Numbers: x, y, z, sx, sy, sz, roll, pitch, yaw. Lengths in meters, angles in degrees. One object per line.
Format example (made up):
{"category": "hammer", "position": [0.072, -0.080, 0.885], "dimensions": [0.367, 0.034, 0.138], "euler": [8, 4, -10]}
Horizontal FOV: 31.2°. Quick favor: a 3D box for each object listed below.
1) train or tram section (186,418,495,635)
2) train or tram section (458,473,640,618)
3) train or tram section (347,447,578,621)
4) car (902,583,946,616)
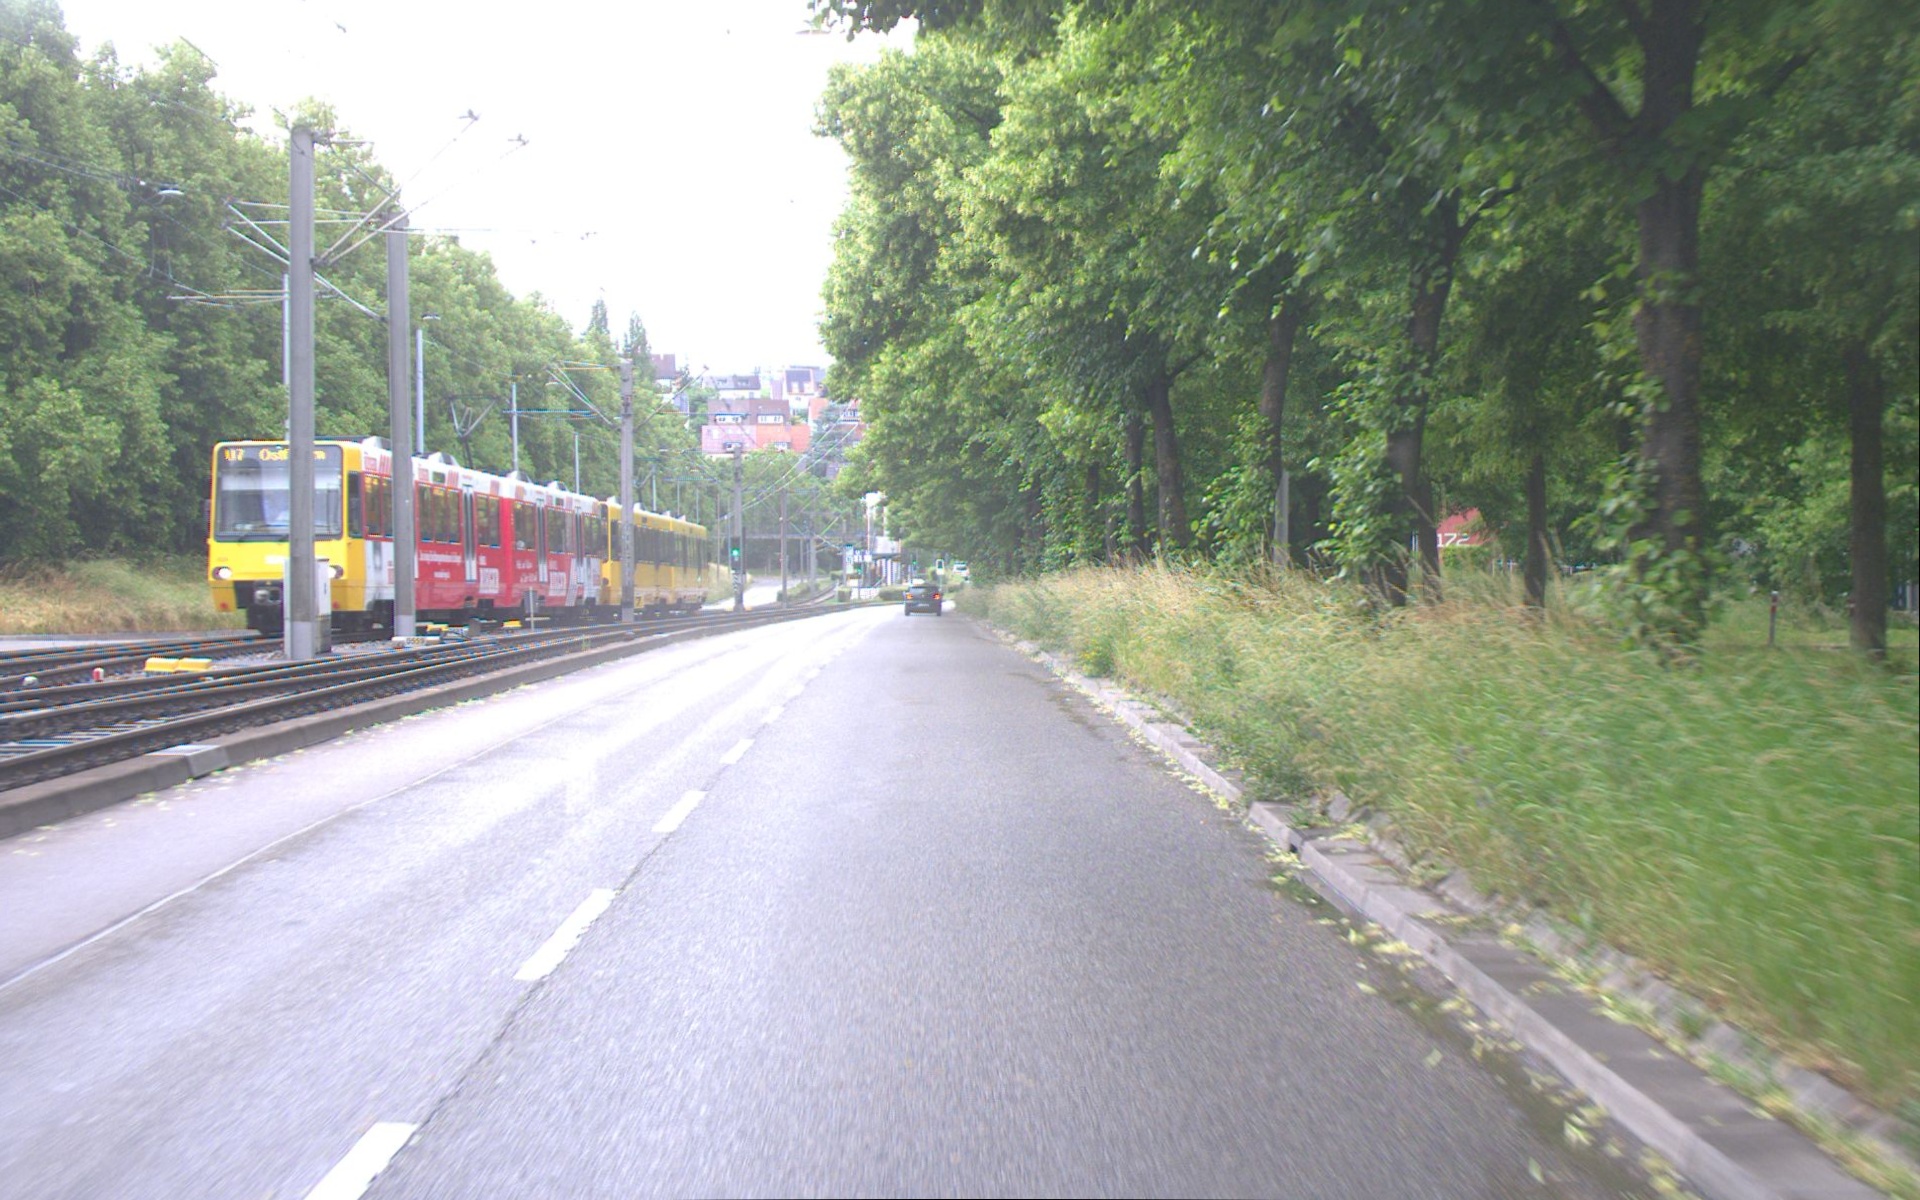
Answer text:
{"category": "train or tram section", "position": [-11.852, -1.305, 67.600], "dimensions": [3.214, 3.783, 14.789], "euler": [0, 0, 1]}
{"category": "train or tram section", "position": [-11.448, -1.443, 97.407], "dimensions": [3.214, 3.783, 14.789], "euler": [0, 0, 1]}
{"category": "train or tram section", "position": [-11.677, -1.457, 82.466], "dimensions": [3.214, 3.783, 14.789], "euler": [0, 0, 1]}
{"category": "car", "position": [-1.640, -0.047, 157.394], "dimensions": [1.982, 1.436, 4.474], "euler": [0, 1, 0]}
